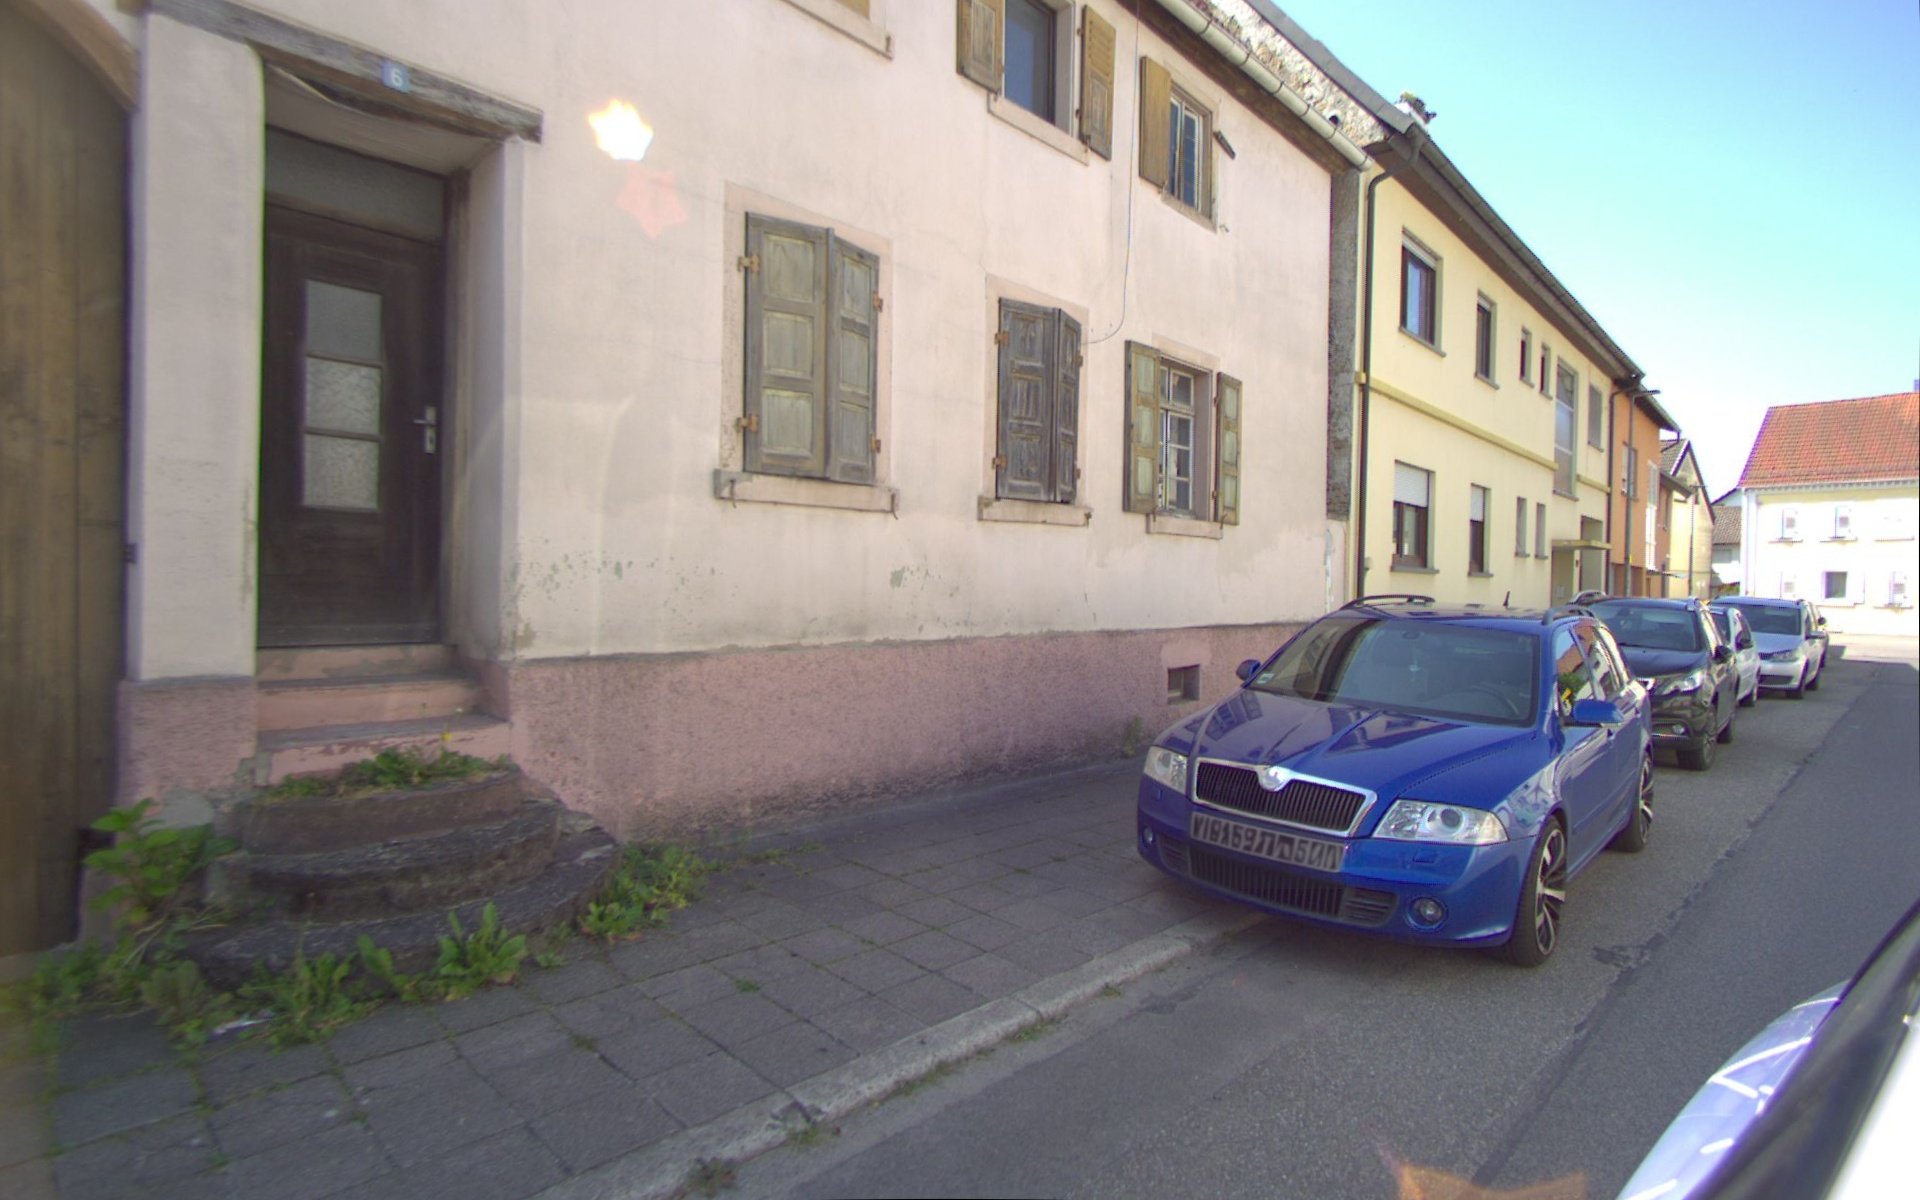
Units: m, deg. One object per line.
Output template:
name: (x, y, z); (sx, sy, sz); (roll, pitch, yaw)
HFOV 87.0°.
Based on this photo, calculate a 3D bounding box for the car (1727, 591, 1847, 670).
car: (20.829, 0.692, 25.395); (1.845, 1.724, 5.097); (3, 2, 44)

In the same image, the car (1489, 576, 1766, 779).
car: (6.898, 0.616, 10.277); (1.699, 1.603, 3.965); (3, 2, 43)

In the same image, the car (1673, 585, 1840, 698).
car: (14.145, 0.635, 17.894); (1.899, 1.750, 4.181); (1, 1, 44)

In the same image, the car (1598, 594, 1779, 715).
car: (10.553, 0.680, 14.565); (1.552, 1.456, 3.661); (3, 2, 44)

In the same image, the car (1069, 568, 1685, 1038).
car: (2.573, 0.644, 5.488); (1.698, 1.487, 4.343); (3, 2, 42)
